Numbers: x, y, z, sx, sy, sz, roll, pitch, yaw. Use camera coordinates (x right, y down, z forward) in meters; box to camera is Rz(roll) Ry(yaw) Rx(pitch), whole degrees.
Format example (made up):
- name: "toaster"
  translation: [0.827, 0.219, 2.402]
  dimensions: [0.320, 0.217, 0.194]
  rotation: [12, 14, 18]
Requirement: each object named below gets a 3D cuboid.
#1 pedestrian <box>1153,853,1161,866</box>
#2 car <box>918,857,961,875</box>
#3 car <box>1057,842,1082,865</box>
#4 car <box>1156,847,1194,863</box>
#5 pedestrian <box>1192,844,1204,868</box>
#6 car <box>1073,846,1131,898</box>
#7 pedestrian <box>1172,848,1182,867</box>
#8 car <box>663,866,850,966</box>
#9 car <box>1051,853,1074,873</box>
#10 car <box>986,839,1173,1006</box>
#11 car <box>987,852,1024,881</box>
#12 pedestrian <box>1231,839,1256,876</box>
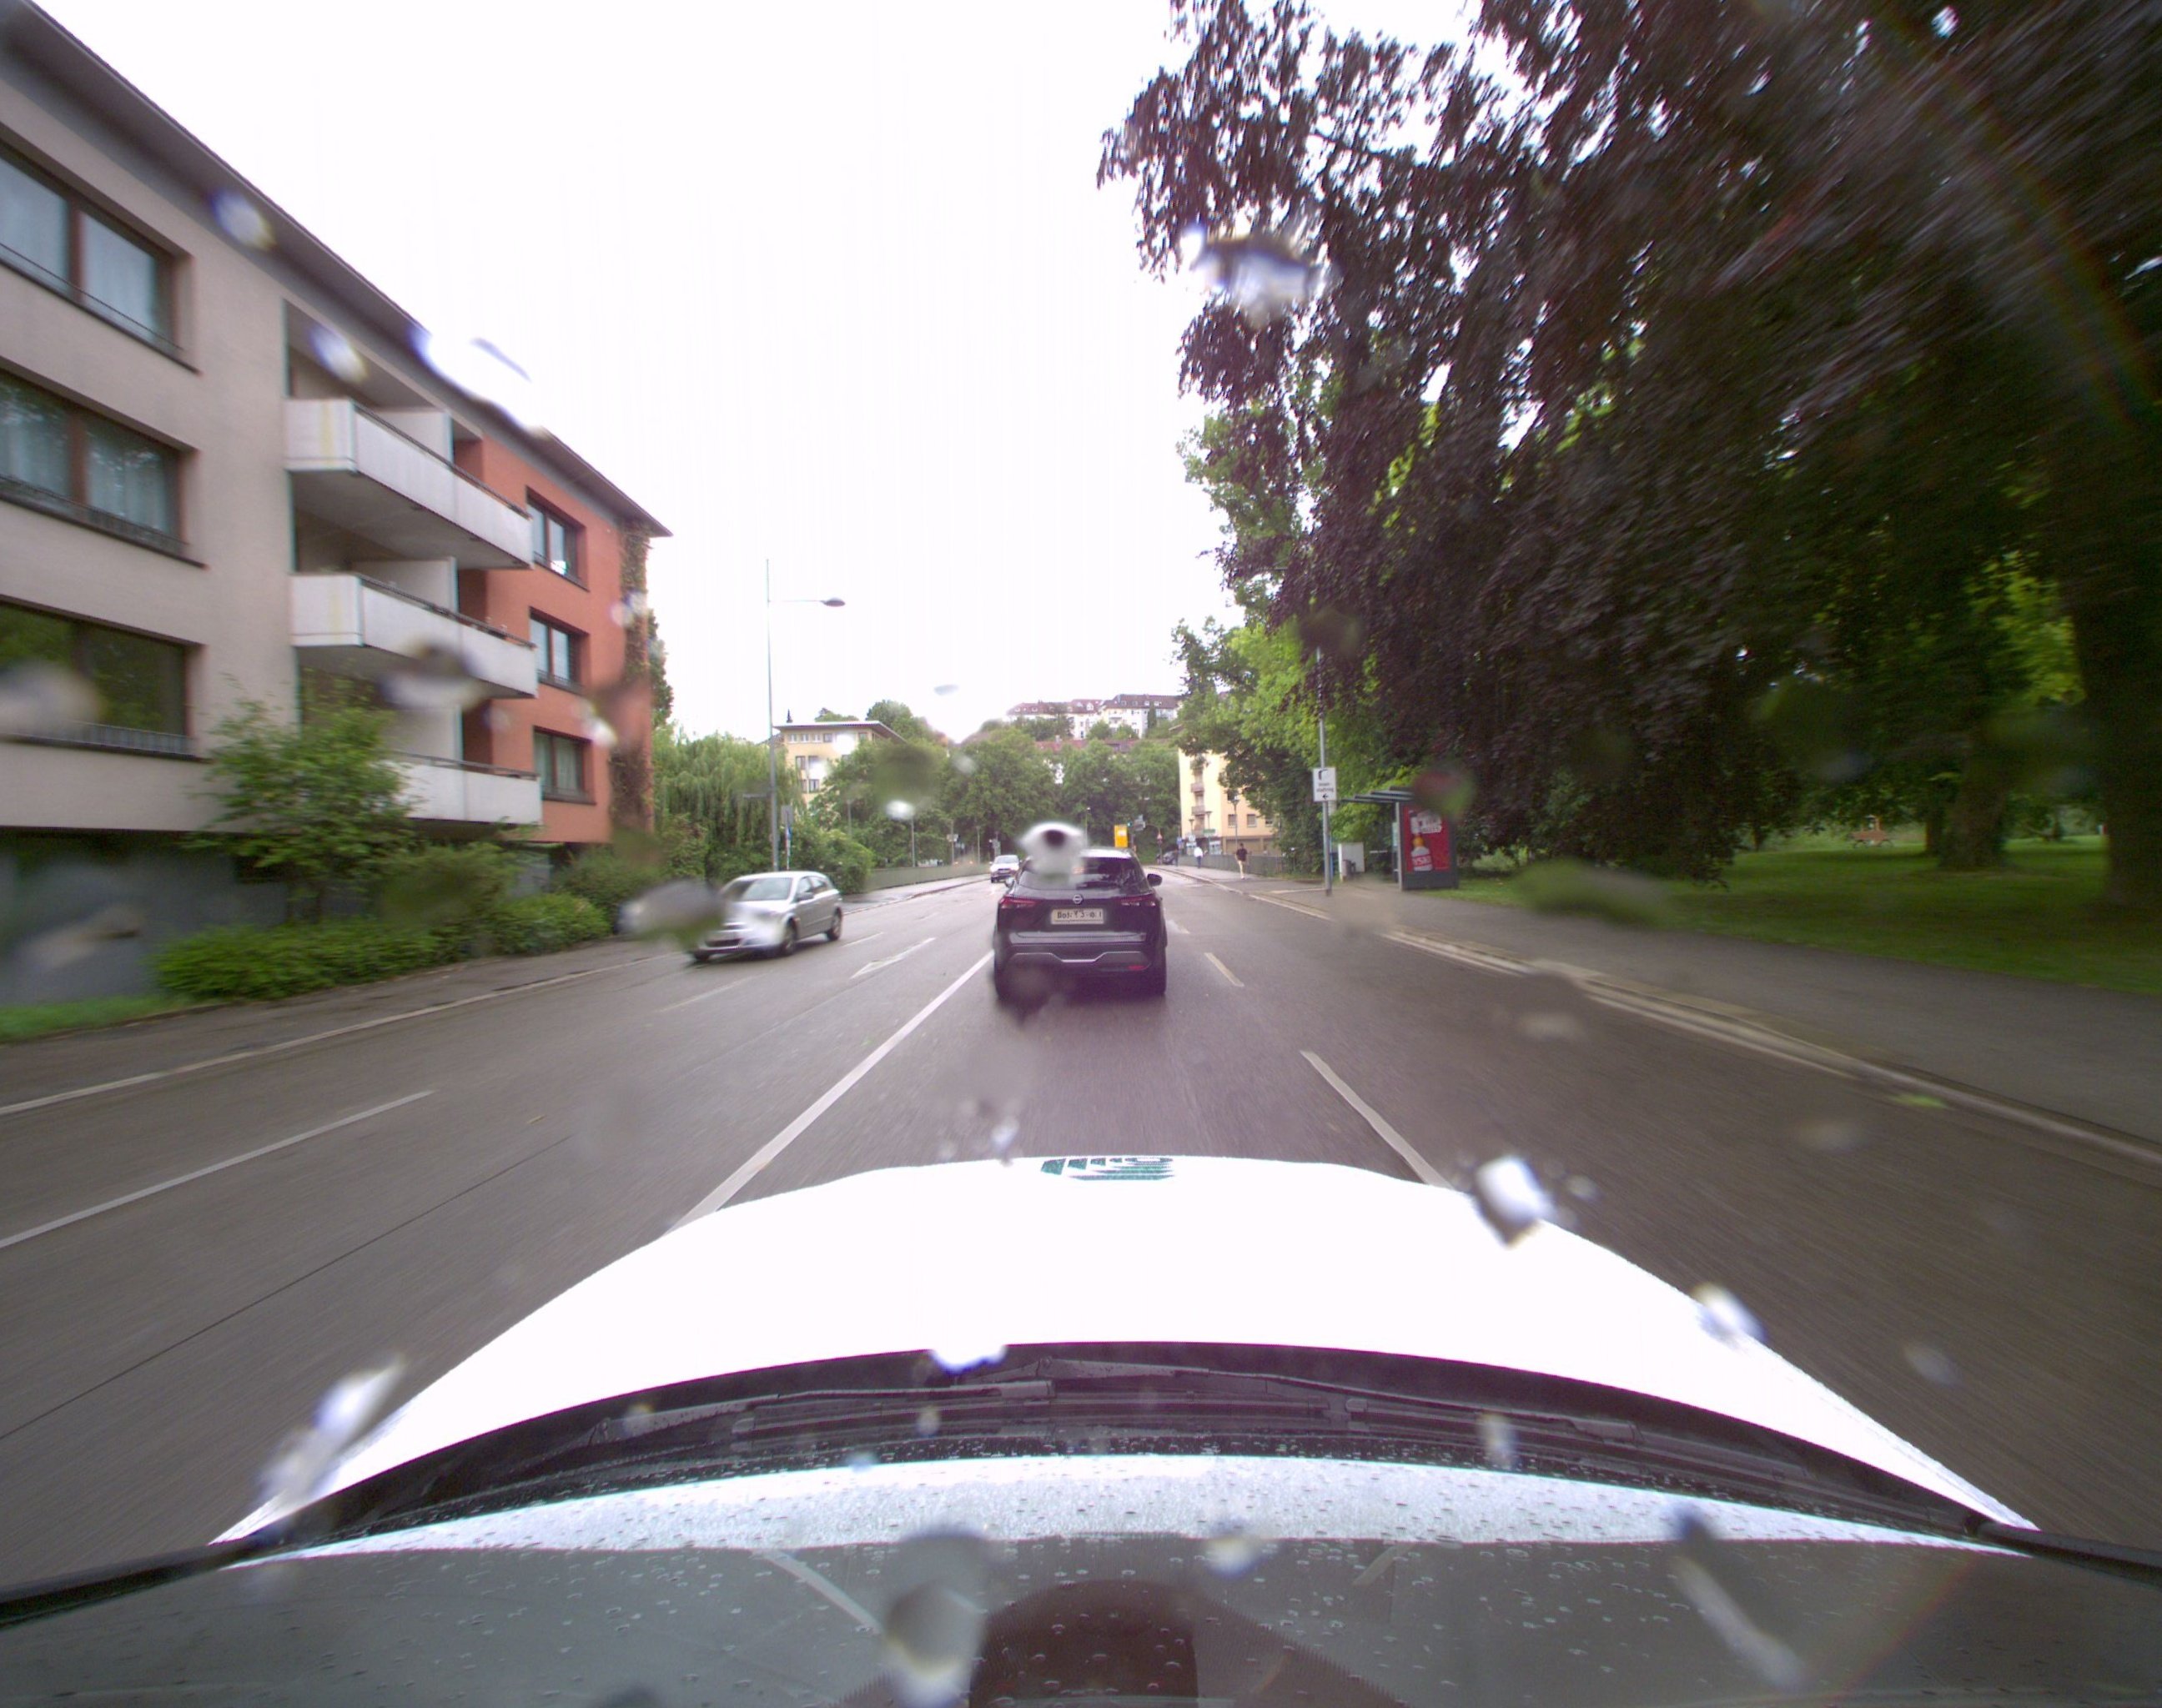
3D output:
- name: "pedestrian"
  translation: [9.490, 0.690, 101.228]
  dimensions: [0.859, 1.619, 0.840]
  rotation: [-3, -1, 1]
- name: "car"
  translation: [-16.245, 1.401, 93.560]
  dimensions: [4.738, 1.854, 1.995]
  rotation: [-2, 1, -7]
- name: "car"
  translation: [-1.192, -0.087, 87.561]
  dimensions: [2.281, 2.308, 6.511]
  rotation: [-3, 1, 1]
- name: "car"
  translation: [11.713, 0.106, 101.449]
  dimensions: [4.387, 1.649, 1.868]
  rotation: [-3, -1, -24]
- name: "pedestrian"
  translation: [8.937, 0.162, 62.213]
  dimensions: [0.777, 1.752, 1.061]
  rotation: [-2, -1, 1]
- name: "car"
  translation: [0.719, 0.548, 27.392]
  dimensions: [1.804, 1.603, 4.001]
  rotation: [-1, 0, 2]
- name: "pedestrian"
  translation: [9.183, 0.328, 77.956]
  dimensions: [0.758, 1.677, 0.781]
  rotation: [-4, 0, 1]
- name: "car"
  translation: [-5.824, 1.025, 15.208]
  dimensions: [1.807, 1.415, 4.047]
  rotation: [-3, 1, 0]
- name: "car"
  translation: [-1.535, 0.750, 68.794]
  dimensions: [1.776, 1.474, 4.165]
  rotation: [-3, 1, -1]
- name: "car"
  translation: [0.040, 0.664, 9.999]
  dimensions: [1.804, 1.603, 4.001]
  rotation: [-1, 0, 2]
- name: "car"
  translation: [-4.546, 0.728, 49.466]
  dimensions: [1.808, 1.579, 4.230]
  rotation: [-3, 0, -1]
- name: "pedestrian"
  translation: [7.730, 0.185, 38.804]
  dimensions: [0.844, 1.676, 1.168]
  rotation: [-4, -1, 1]
